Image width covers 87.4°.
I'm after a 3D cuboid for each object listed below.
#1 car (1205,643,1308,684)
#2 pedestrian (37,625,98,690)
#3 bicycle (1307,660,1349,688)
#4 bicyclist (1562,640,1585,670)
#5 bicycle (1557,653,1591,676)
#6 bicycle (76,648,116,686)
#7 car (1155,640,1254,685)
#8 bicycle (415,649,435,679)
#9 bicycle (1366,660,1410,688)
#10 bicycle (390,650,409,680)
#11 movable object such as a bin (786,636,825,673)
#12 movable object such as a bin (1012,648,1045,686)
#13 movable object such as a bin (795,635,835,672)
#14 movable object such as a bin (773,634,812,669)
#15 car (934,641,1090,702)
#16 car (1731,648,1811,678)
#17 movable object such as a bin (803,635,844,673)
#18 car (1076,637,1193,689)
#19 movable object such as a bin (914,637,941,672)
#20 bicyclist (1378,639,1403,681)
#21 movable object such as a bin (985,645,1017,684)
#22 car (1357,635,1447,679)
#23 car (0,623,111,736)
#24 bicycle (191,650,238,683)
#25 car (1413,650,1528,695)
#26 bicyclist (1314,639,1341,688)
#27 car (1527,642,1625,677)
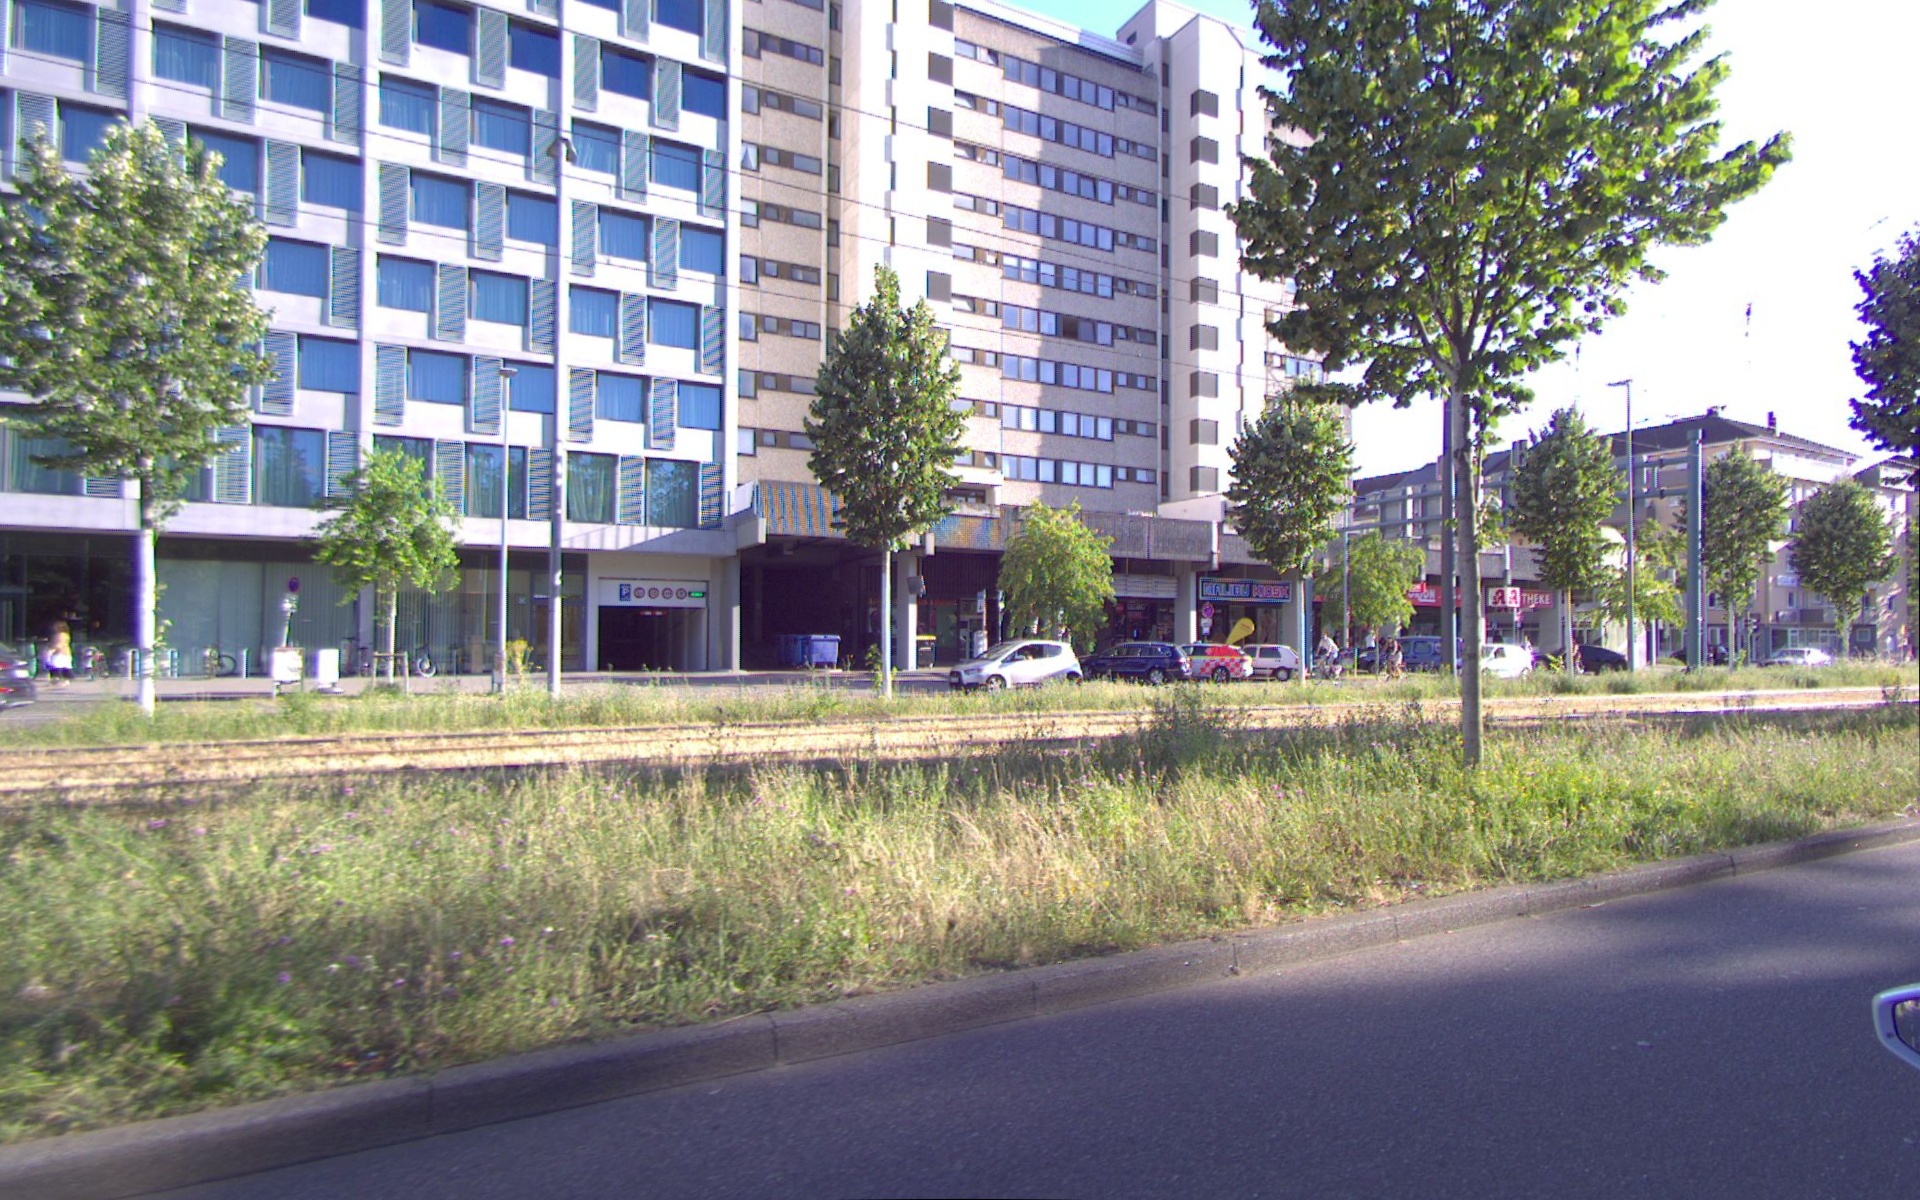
[{"bbox_3d":[12.007,2.559,40.898,3.919,1.472,1.788,1,-1,15],"label":"car"},{"bbox_3d":[-23.539,1.508,26.506,0.957,1.675,0.841,1,-2,-26],"label":"pedestrian"},{"bbox_3d":[14.077,2.815,38.406,1.691,1.006,0.541,1,-1,-31],"label":"bicycle"},{"bbox_3d":[27.918,2.495,45.714,0.751,1.373,0.589,1,-1,-30],"label":"bicyclist"},{"bbox_3d":[27.957,2.920,45.736,1.697,0.976,0.604,1,-1,-30],"label":"bicycle"},{"bbox_3d":[-24.886,1.916,28.961,0.477,0.979,1.745,1,-1,-27],"label":"bicycle"},{"bbox_3d":[9.607,2.428,39.405,3.555,1.543,1.620,1,0,22],"label":"car"},{"bbox_3d":[-17.322,2.064,32.518,0.506,0.917,1.796,1,-2,-30],"label":"bicycle"},{"bbox_3d":[16.516,2.845,38.713,1.768,1.053,0.552,1,-1,-27],"label":"bicycle"},{"bbox_3d":[-18.029,2.074,32.284,0.506,0.917,1.796,1,-2,-30],"label":"bicycle"},{"bbox_3d":[-6.278,2.210,40.870,1.385,1.459,0.797,1,-2,-28],"label":"movable object such as a bin"},{"bbox_3d":[2.350,2.295,34.482,0.923,1.297,0.858,1,-2,-13],"label":"movable object such as a bin"},{"bbox_3d":[-5.738,2.109,39.859,1.385,1.459,0.797,1,-2,-28],"label":"movable object such as a bin"},{"bbox_3d":[-6.998,2.139,41.972,1.385,1.459,0.938,1,-2,-28],"label":"movable object such as a bin"},{"bbox_3d":[1.447,1.940,27.967,3.947,1.534,1.879,1,-1,-26],"label":"car"},{"bbox_3d":[40.190,3.078,49.772,3.644,1.415,1.924,1,-2,-30],"label":"car"},{"bbox_3d":[-5.321,2.103,39.061,1.385,1.459,0.797,1,-2,-28],"label":"movable object such as a bin"},{"bbox_3d":[6.573,2.331,37.740,4.017,1.622,1.749,2,1,22],"label":"car"},{"bbox_3d":[-1.322,2.216,40.861,0.857,1.389,0.819,1,-2,-27],"label":"movable object such as a bin"},{"bbox_3d":[16.608,2.303,38.762,0.673,1.565,0.549,1,-1,-27],"label":"bicyclist"},{"bbox_3d":[1.449,2.274,35.568,0.923,1.375,0.858,1,-2,-13],"label":"movable object such as a bin"},{"bbox_3d":[20.150,2.572,45.951,3.686,1.853,1.824,1,-1,23],"label":"car"},{"bbox_3d":[-16.645,1.208,15.527,5.022,1.711,1.879,1,-1,-26],"label":"car"},{"bbox_3d":[-22.070,1.947,29.759,0.503,0.917,1.804,1,-2,-17],"label":"bicycle"},{"bbox_3d":[19.290,2.699,37.942,3.947,1.534,1.879,1,-1,-26],"label":"car"},{"bbox_3d":[14.058,2.421,38.397,0.848,1.812,0.537,1,-1,-31],"label":"bicyclist"},{"bbox_3d":[31.082,2.995,50.824,3.922,1.584,2.000,1,-1,21],"label":"car"}]
